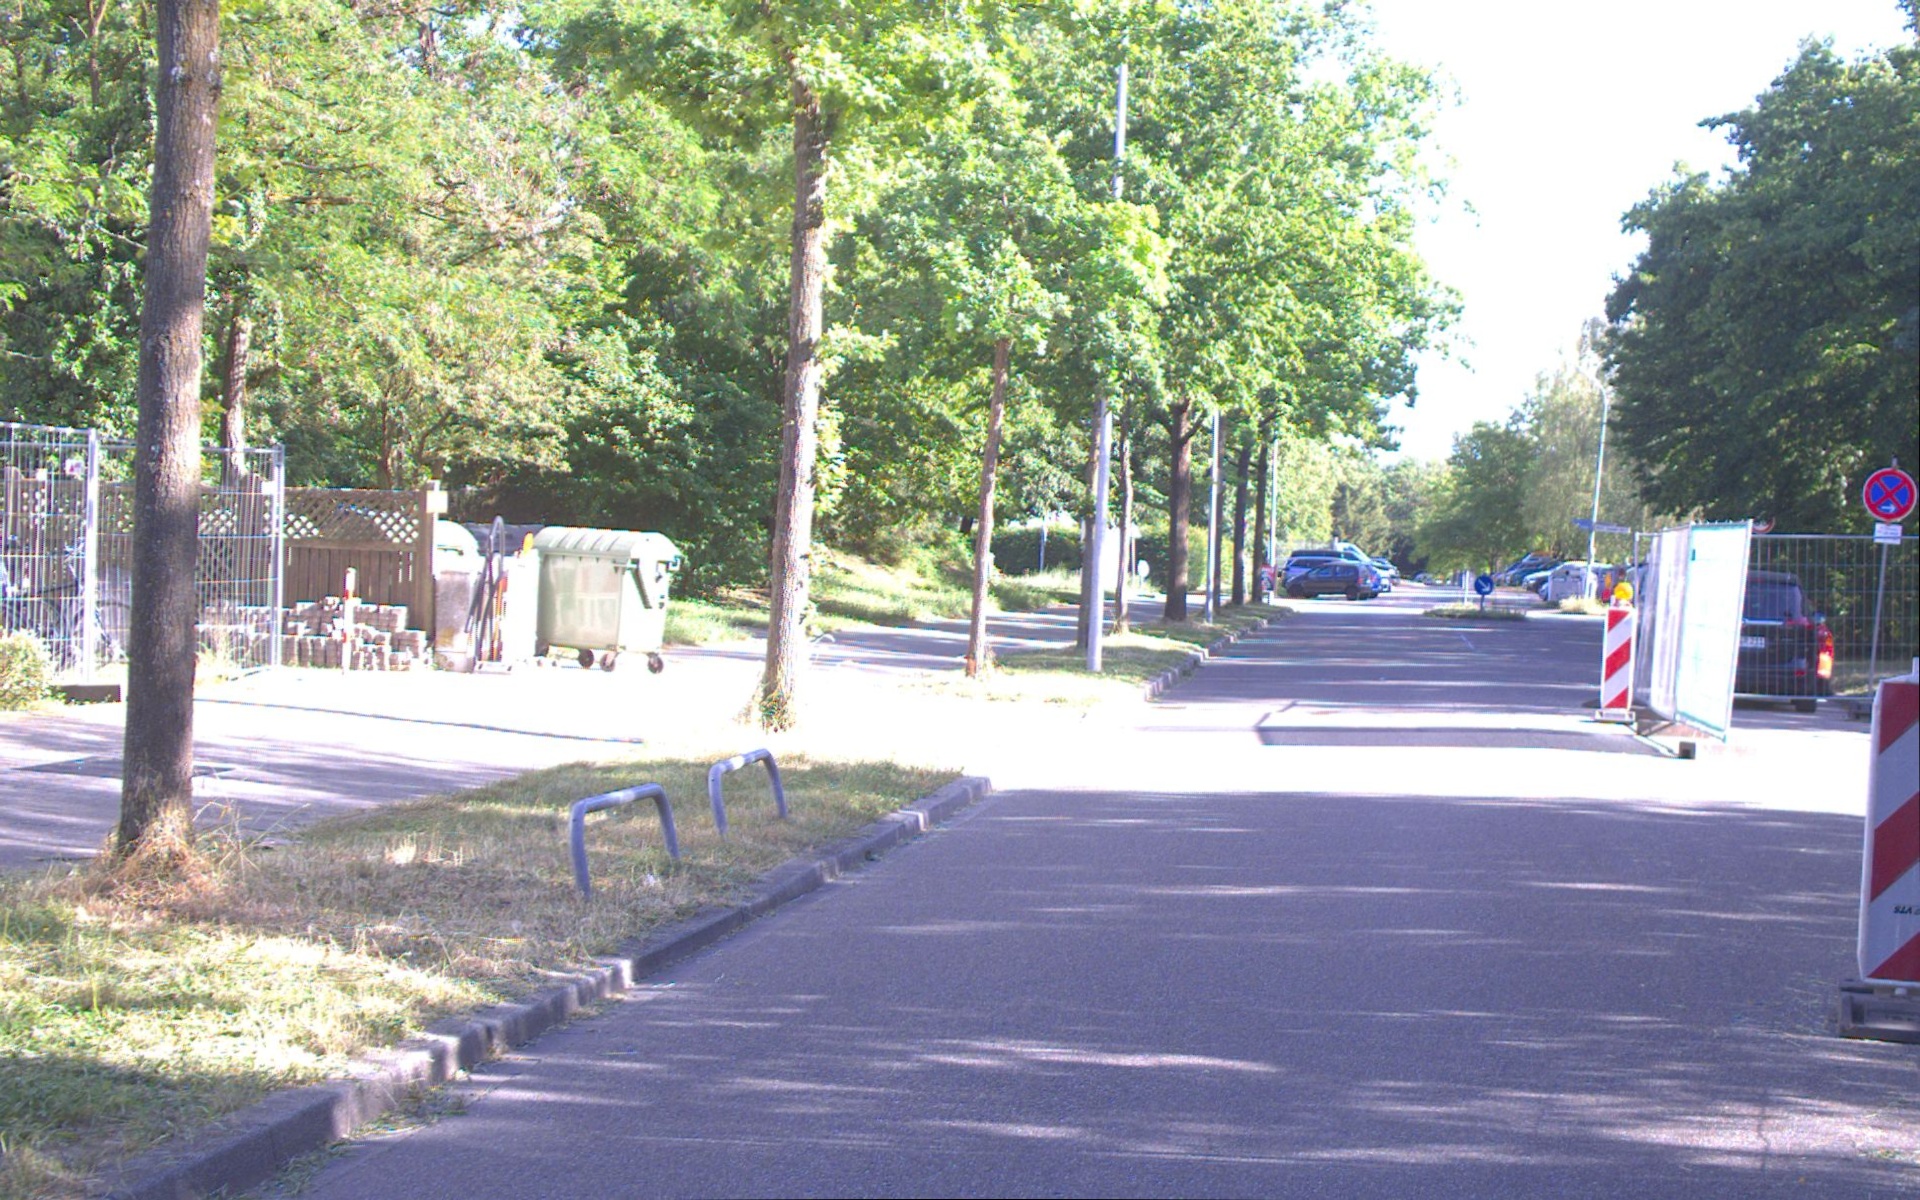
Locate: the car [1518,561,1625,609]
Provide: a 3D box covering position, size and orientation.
[{"bbox_3d":[23.638,-0.595,132.863,3.841,1.571,1.687,4,1,15],"label":"car"}]

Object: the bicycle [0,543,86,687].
[{"bbox_3d":[-7.377,0.079,25.103,1.855,1.023,0.400,2,0,-4],"label":"bicycle"}]

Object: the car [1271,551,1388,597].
[{"bbox_3d":[14.911,-1.046,138.756,4.321,1.571,2.044,4,1,15],"label":"car"}]

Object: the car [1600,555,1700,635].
[{"bbox_3d":[16.814,-0.142,83.950,1.791,1.779,4.556,4,1,5],"label":"car"}]

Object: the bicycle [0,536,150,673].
[{"bbox_3d":[-7.371,0.017,26.954,1.914,1.023,0.400,2,0,-4],"label":"bicycle"}]

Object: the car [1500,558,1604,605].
[{"bbox_3d":[23.387,-0.717,135.756,3.841,1.571,1.687,4,1,15],"label":"car"}]

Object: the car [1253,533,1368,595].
[{"bbox_3d":[16.711,-1.723,164.009,5.200,2.612,2.293,4,1,4],"label":"car"}]

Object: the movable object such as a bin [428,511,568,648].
[{"bbox_3d":[-5.048,-0.229,37.532,1.141,1.430,1.273,2,1,-25],"label":"movable object such as a bin"}]

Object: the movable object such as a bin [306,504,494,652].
[{"bbox_3d":[-5.652,-0.221,34.739,1.272,1.430,1.323,3,1,36],"label":"movable object such as a bin"}]

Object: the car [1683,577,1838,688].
[{"bbox_3d":[11.282,0.430,48.650,1.662,1.371,4.154,4,1,8],"label":"car"}]

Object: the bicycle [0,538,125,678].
[{"bbox_3d":[-7.326,0.039,26.051,1.858,1.023,0.400,2,0,-4],"label":"bicycle"}]

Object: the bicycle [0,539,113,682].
[{"bbox_3d":[-7.283,0.054,25.568,1.838,1.023,0.400,2,0,-4],"label":"bicycle"}]

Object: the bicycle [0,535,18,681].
[{"bbox_3d":[-7.640,0.018,24.191,1.868,1.023,0.400,2,0,-4],"label":"bicycle"}]

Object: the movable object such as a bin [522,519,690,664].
[{"bbox_3d":[-3.665,-0.093,35.663,1.271,1.430,1.180,2,1,24],"label":"movable object such as a bin"}]

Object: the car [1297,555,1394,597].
[{"bbox_3d":[17.373,-1.093,154.869,4.109,1.571,1.957,4,1,10],"label":"car"}]

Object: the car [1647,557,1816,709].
[{"bbox_3d":[9.445,0.368,42.191,1.811,1.645,4.418,4,1,12],"label":"car"}]

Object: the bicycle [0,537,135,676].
[{"bbox_3d":[-7.340,0.032,26.480,1.837,1.023,0.400,2,0,-4],"label":"bicycle"}]
